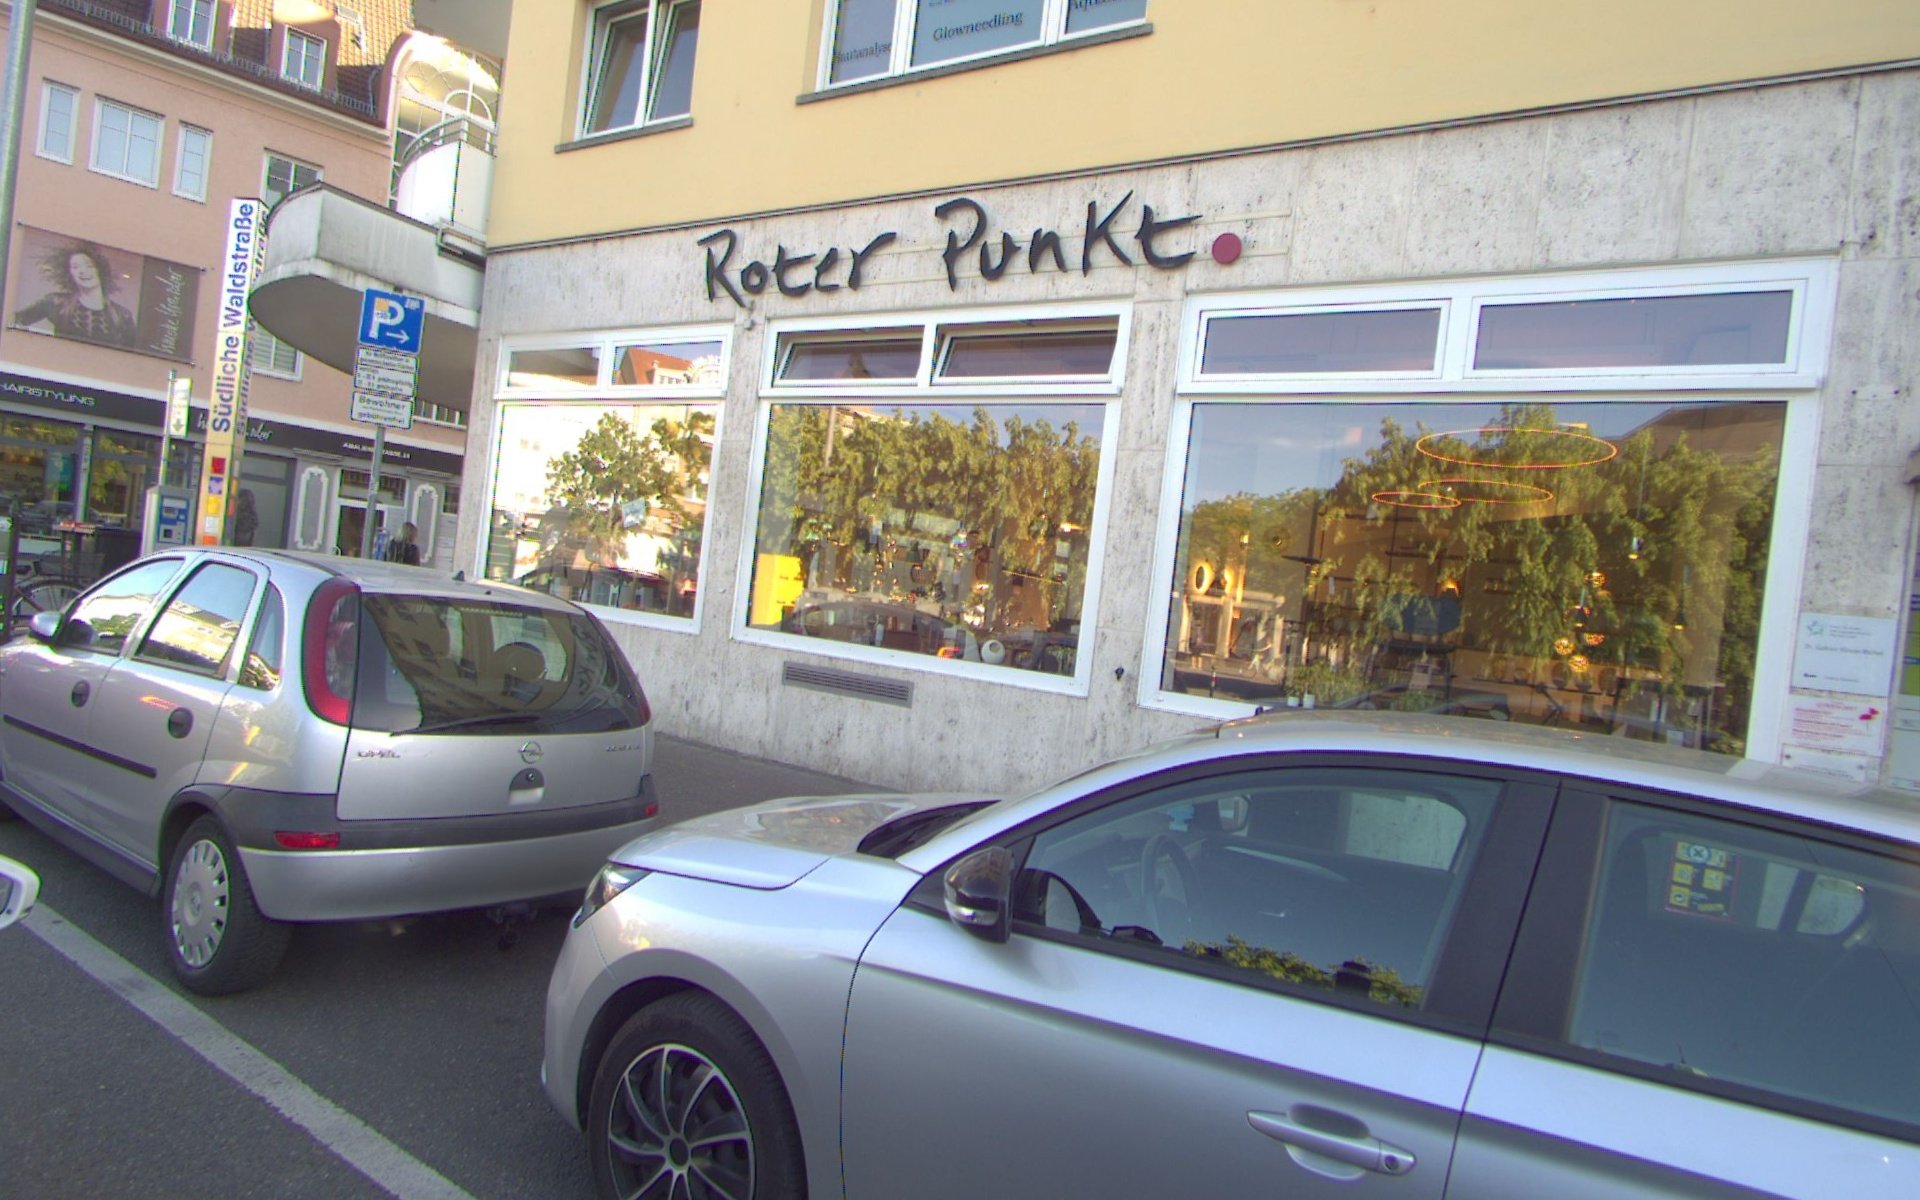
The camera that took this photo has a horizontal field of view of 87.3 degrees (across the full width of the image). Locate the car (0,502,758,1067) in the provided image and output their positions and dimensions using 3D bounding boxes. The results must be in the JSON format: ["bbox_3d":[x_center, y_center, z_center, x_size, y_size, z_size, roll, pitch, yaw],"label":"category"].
[{"bbox_3d":[-2.929,0.449,4.440,3.822,1.411,1.624,7,-1,33],"label":"car"}]

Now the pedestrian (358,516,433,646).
[{"bbox_3d":[-7.582,-0.254,13.537,0.654,1.654,0.625,5,2,-17],"label":"pedestrian"}]

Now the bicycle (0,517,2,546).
[{"bbox_3d":[-9.319,-0.224,8.529,0.425,1.175,1.629,7,1,30],"label":"bicycle"}]

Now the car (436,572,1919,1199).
[{"bbox_3d":[0.937,0.922,2.209,4.007,1.444,1.674,7,-1,29],"label":"car"}]

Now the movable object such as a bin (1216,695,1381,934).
[{"bbox_3d":[1.856,1.119,5.488,0.609,1.082,0.703,7,3,31],"label":"movable object such as a bin"}]

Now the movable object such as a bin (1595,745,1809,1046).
[{"bbox_3d":[3.322,1.278,4.575,0.609,1.082,0.703,7,3,31],"label":"movable object such as a bin"}]
